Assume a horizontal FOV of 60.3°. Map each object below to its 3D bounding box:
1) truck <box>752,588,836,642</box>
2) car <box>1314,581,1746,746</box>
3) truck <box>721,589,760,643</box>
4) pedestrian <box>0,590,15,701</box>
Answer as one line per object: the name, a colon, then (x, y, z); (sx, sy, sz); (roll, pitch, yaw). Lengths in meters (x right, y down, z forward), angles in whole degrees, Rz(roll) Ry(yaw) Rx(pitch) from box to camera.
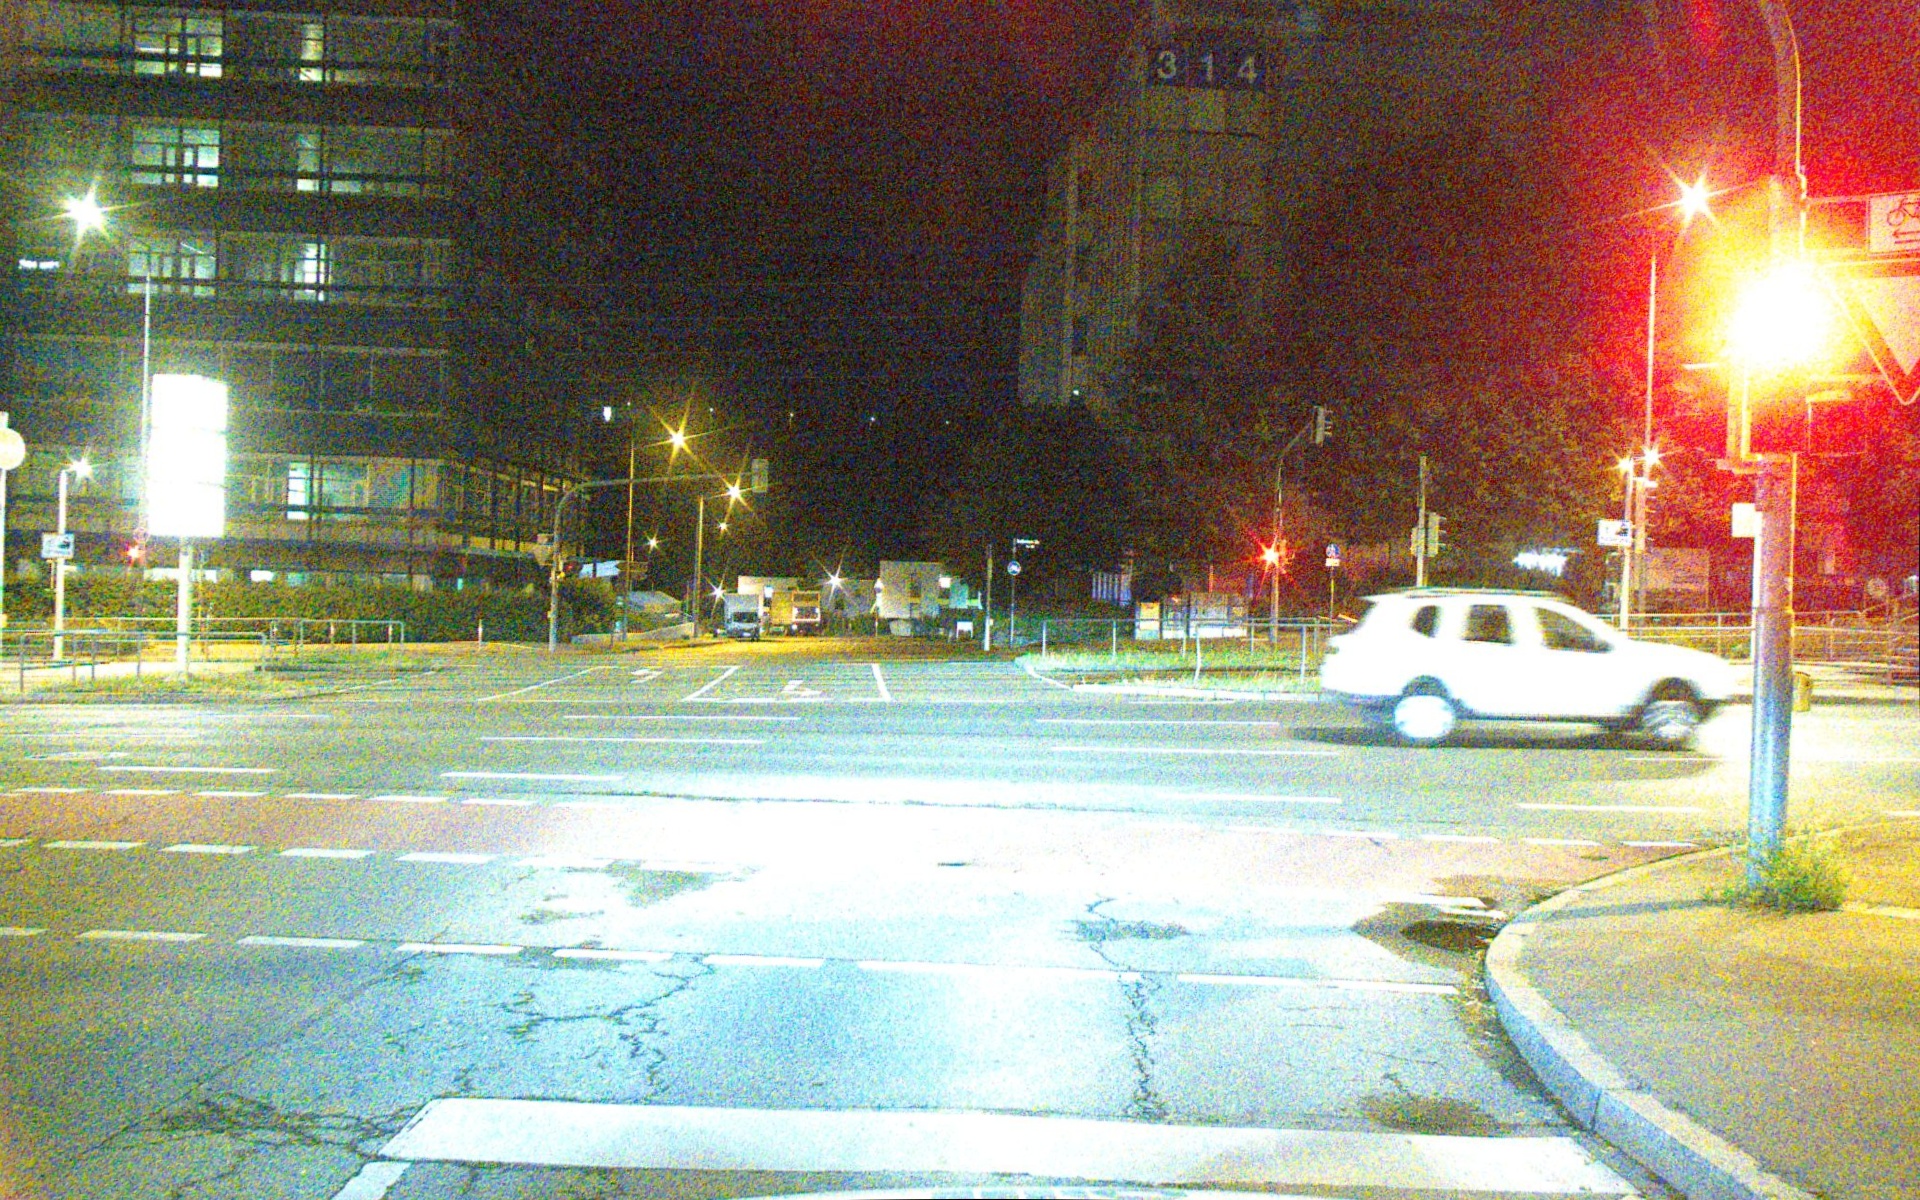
truck: (-15.292, 1.298, 150.973); (4.751, 4.627, 12.593); (1, 0, -19)
car: (6.211, 0.662, 18.402); (4.194, 1.712, 1.876); (0, 1, 2)
truck: (-15.825, 1.130, 118.781); (2.535, 3.772, 5.724); (1, 0, -9)
pedestrian: (-14.686, 0.679, 24.695); (0.656, 1.663, 0.862); (1, -1, -5)
